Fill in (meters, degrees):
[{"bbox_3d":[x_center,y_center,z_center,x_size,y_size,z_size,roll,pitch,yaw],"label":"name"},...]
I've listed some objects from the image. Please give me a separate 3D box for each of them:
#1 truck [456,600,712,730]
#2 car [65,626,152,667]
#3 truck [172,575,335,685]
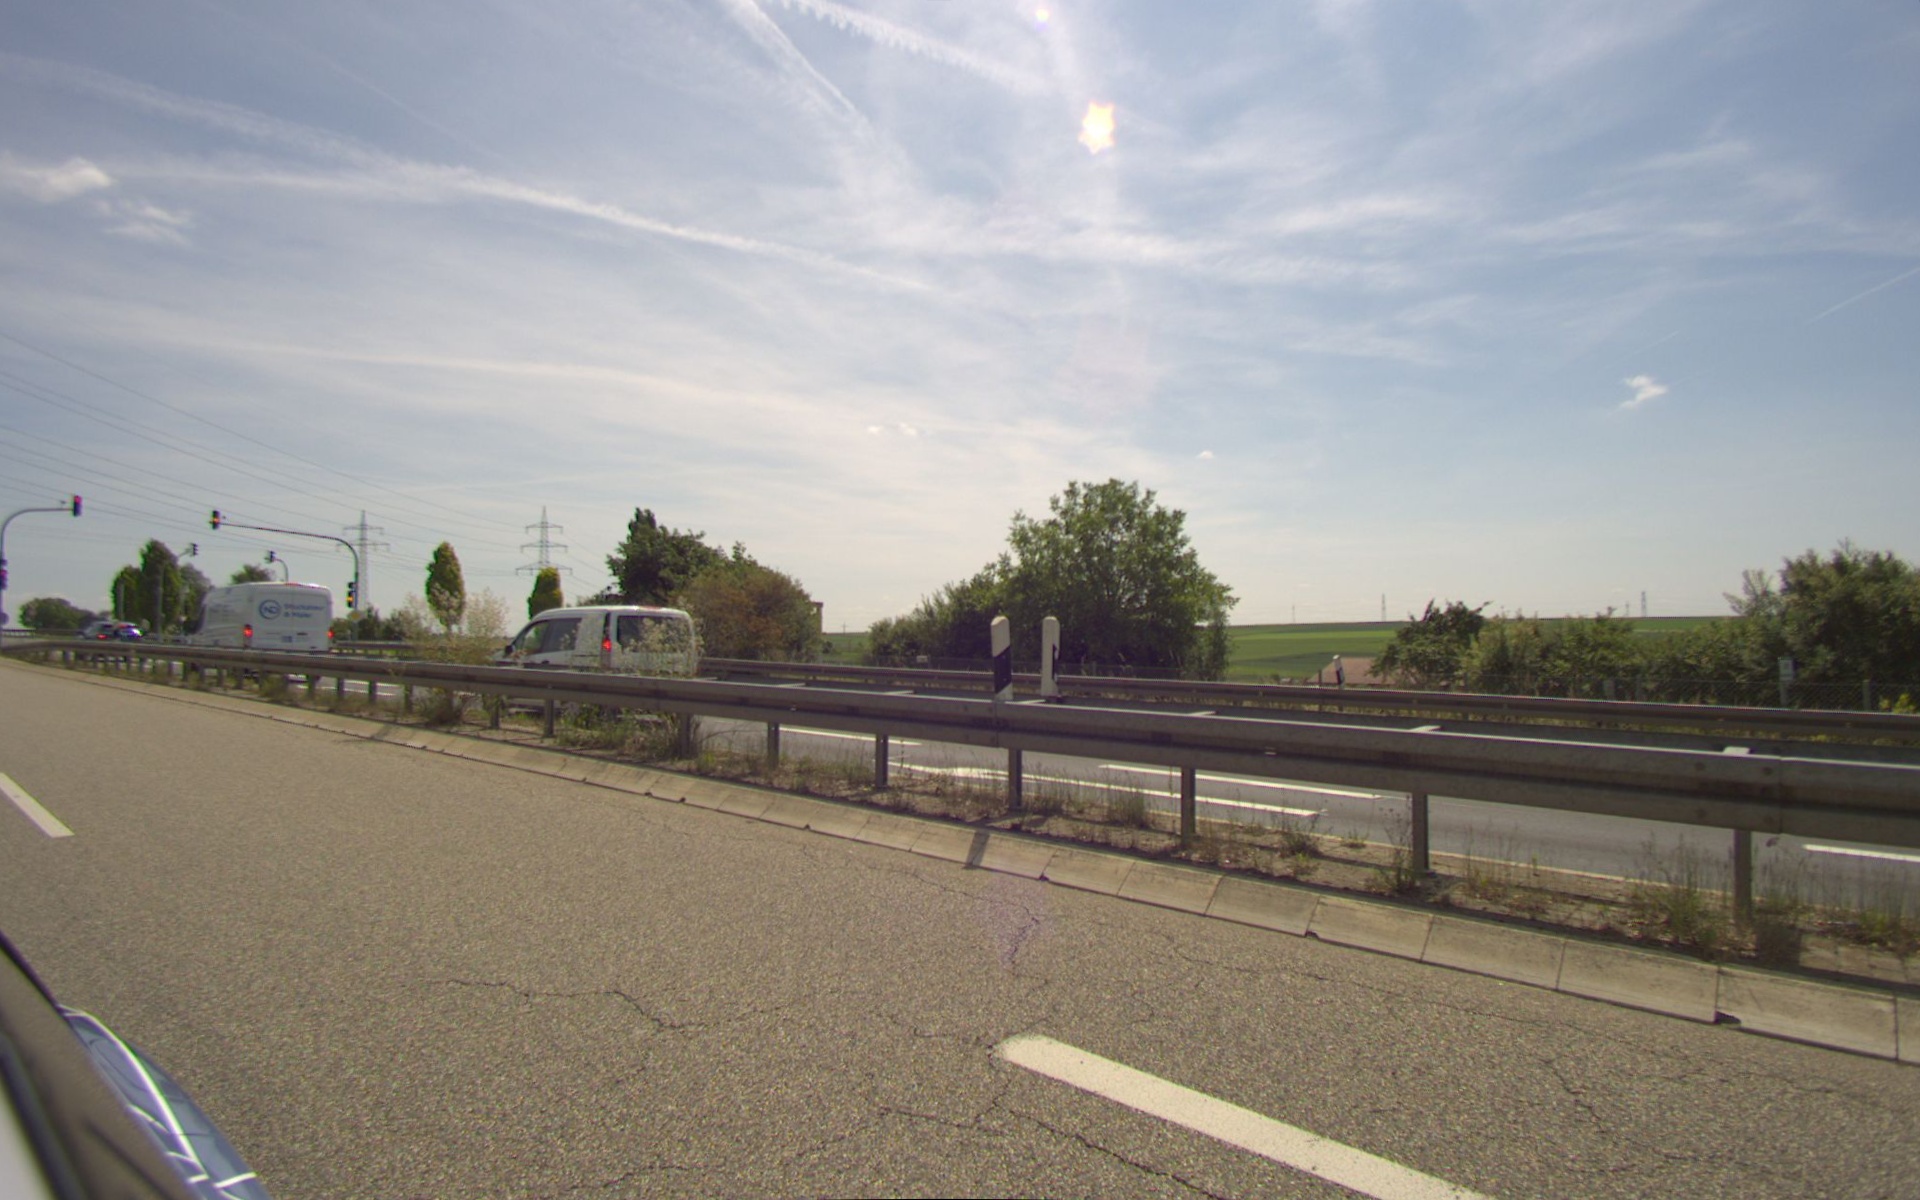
[{"bbox_3d":[-6.016,0.943,15.928,4.536,1.762,1.829,0,-4,42],"label":"truck"},{"bbox_3d":[-32.327,1.740,38.388,4.191,1.480,1.738,-1,-2,39],"label":"car"},{"bbox_3d":[-19.011,0.832,27.099,6.015,2.641,2.019,-1,-4,41],"label":"truck"}]
